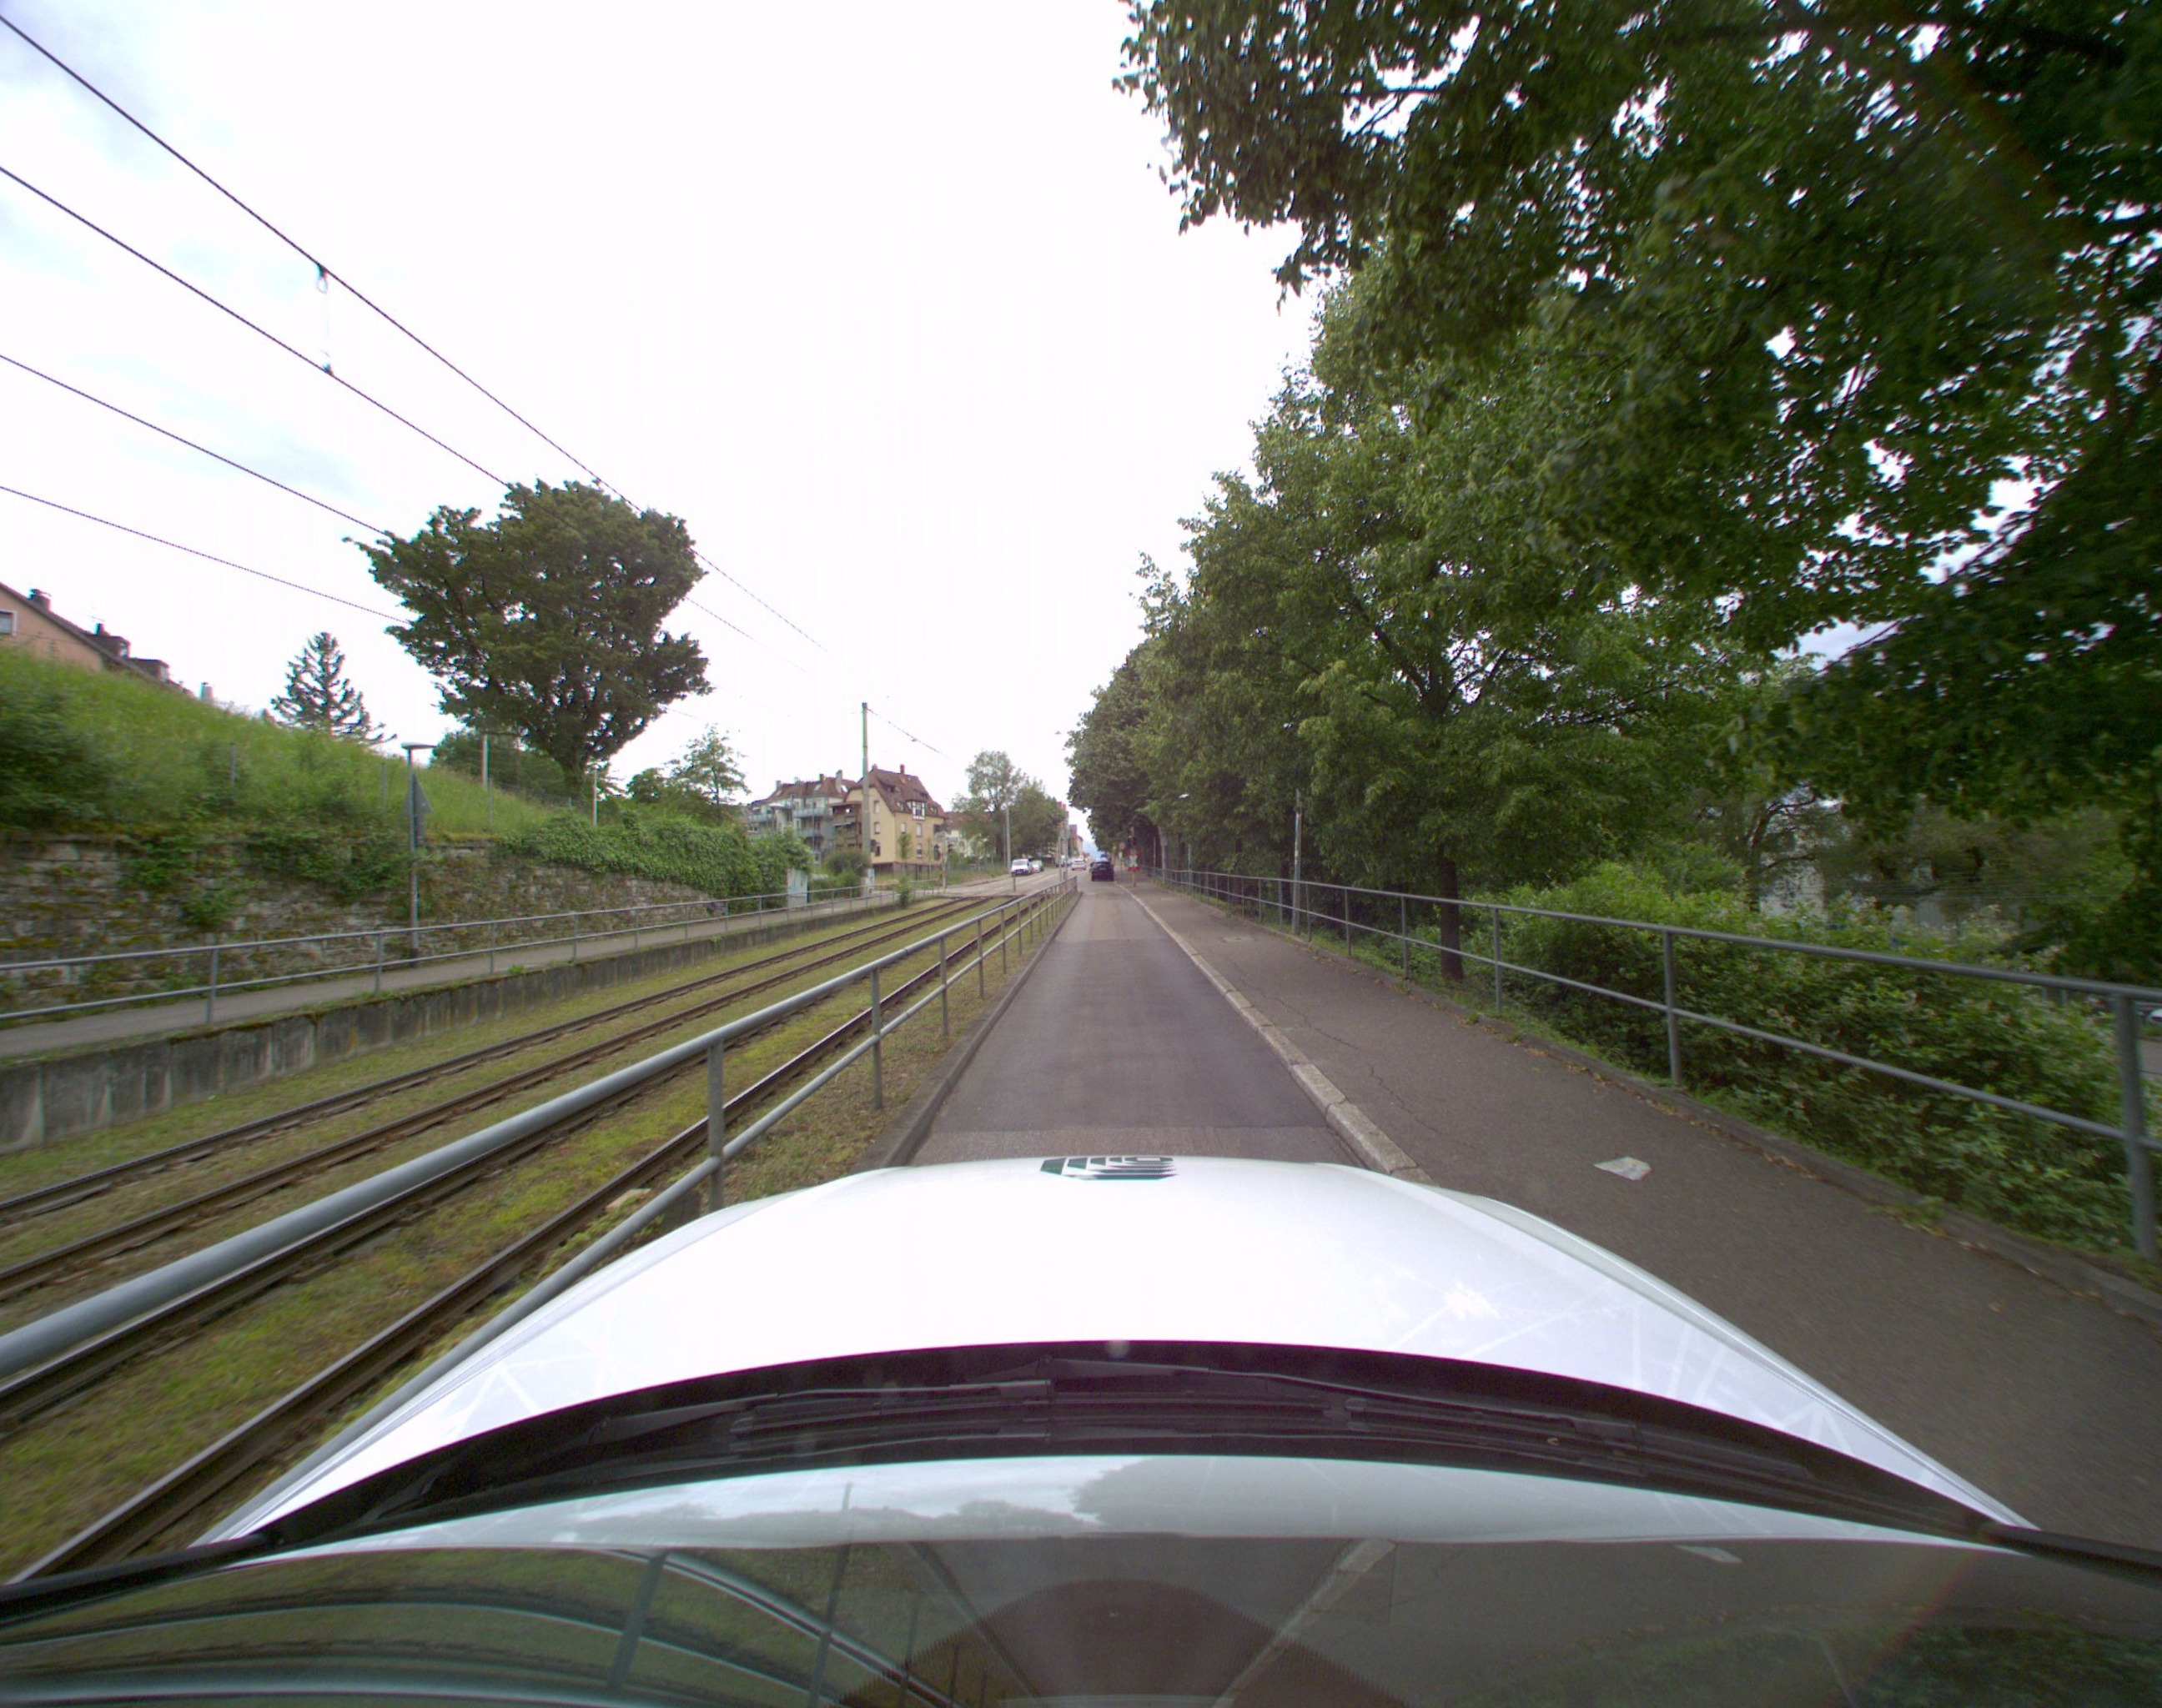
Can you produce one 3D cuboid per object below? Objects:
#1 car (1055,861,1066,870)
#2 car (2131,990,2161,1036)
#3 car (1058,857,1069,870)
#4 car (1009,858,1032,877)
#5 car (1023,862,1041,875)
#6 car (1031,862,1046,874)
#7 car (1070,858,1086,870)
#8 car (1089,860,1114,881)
[{"bbox_3d":[-4.327,2.407,172.337,1.985,1.808,4.003,-1,-1,3],"label":"car"},{"bbox_3d":[41.657,5.841,29.527,4.303,1.505,1.831,-1,-1,9],"label":"car"},{"bbox_3d":[-3.959,2.218,186.834,2.224,2.764,5.797,-1,-1,0],"label":"car"},{"bbox_3d":[-6.773,1.507,91.723,2.029,1.881,4.884,-4,-1,0],"label":"car"},{"bbox_3d":[-6.308,1.921,106.084,1.878,1.526,4.665,-3,-1,2],"label":"car"},{"bbox_3d":[-5.827,1.877,111.875,1.717,1.580,4.182,-3,-1,2],"label":"car"},{"bbox_3d":[-0.333,1.344,108.497,1.986,1.499,4.313,-1,-1,1],"label":"car"},{"bbox_3d":[1.692,1.271,65.797,1.896,1.615,4.603,0,0,3],"label":"car"}]
